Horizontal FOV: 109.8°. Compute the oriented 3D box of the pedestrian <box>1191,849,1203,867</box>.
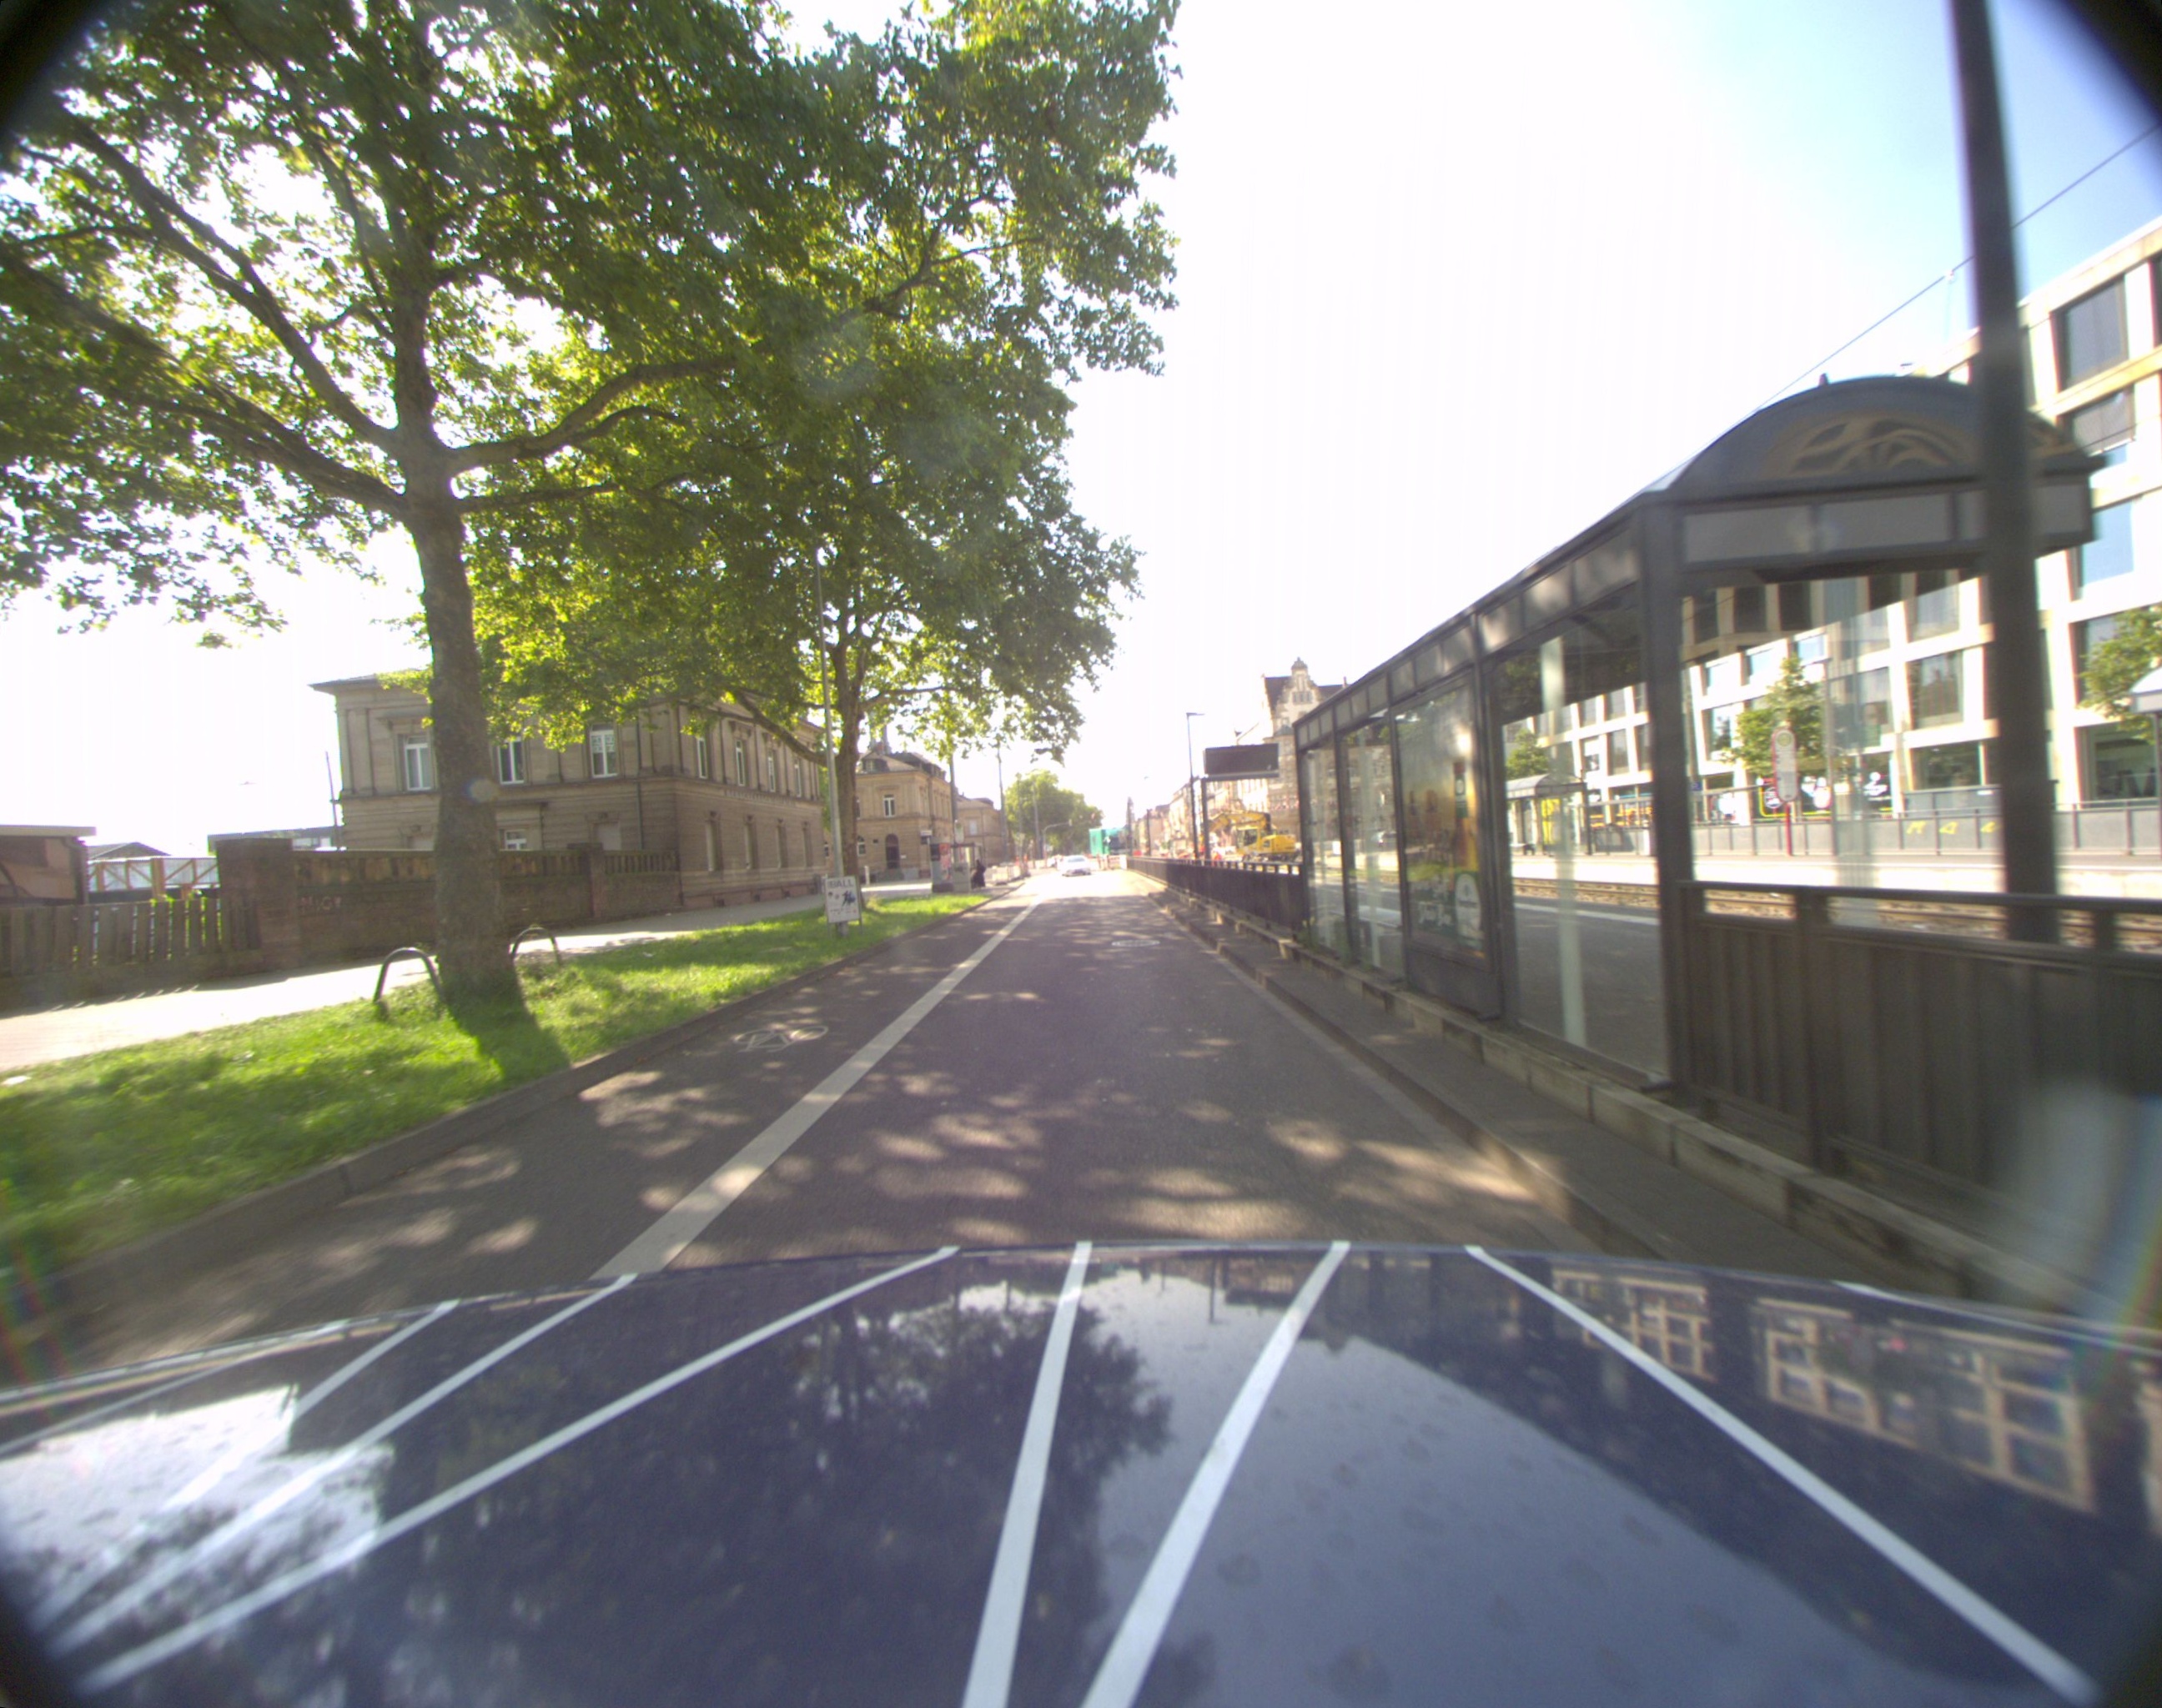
[{"bbox_3d":[9.103,0.318,59.765,0.701,1.327,0.838,-4,0,22],"label":"pedestrian"}]

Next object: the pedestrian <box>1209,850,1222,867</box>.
[{"bbox_3d":[9.722,0.348,54.875,0.701,1.148,0.589,-3,0,40],"label":"pedestrian"}]

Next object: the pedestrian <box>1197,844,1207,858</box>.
[{"bbox_3d":[13.735,-0.325,86.007,0.754,1.547,0.735,-4,1,-42],"label":"pedestrian"}]

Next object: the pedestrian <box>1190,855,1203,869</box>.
[{"bbox_3d":[8.210,0.562,53.990,0.702,0.949,0.882,-4,0,1],"label":"pedestrian"}]

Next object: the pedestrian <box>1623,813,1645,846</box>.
[{"bbox_3d":[34.649,-1.523,47.615,0.854,2.002,0.690,-1,2,0],"label":"pedestrian"}]

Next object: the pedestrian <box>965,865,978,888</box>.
[{"bbox_3d":[-5.943,1.222,41.267,0.610,1.211,0.574,-2,1,-2],"label":"pedestrian"}]

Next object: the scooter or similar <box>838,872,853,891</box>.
[{"bbox_3d":[-15.585,1.801,50.285,0.409,1.159,1.226,-3,0,6],"label":"scooter or similar"}]

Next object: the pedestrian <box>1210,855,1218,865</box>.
[{"bbox_3d":[15.163,0.690,86.483,0.732,1.177,0.866,-1,2,-7],"label":"pedestrian"}]

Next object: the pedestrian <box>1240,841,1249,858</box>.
[{"bbox_3d":[17.214,-0.470,79.828,0.740,1.692,0.759,-3,0,20],"label":"pedestrian"}]

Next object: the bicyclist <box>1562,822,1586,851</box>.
[{"bbox_3d":[23.826,-0.859,36.750,0.630,1.394,0.784,-1,2,0],"label":"bicyclist"}]

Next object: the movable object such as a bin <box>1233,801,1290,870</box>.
[{"bbox_3d":[12.739,-1.234,54.085,2.994,4.527,4.213,-4,0,3],"label":"movable object such as a bin"}]

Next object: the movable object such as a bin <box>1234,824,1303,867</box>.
[{"bbox_3d":[15.333,-0.642,62.420,4.127,3.204,3.564,-4,0,-14],"label":"movable object such as a bin"}]

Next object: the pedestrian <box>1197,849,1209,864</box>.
[{"bbox_3d":[9.771,0.219,60.786,0.701,1.171,0.703,-4,0,22],"label":"pedestrian"}]

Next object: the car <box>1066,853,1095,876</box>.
[{"bbox_3d":[0.005,0.732,55.115,1.844,1.451,4.000,-3,0,2],"label":"car"}]

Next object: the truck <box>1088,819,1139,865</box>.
[{"bbox_3d":[2.863,-0.963,69.611,2.817,3.766,9.009,-3,0,-9],"label":"truck"}]

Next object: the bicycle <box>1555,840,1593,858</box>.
[{"bbox_3d":[23.834,-0.241,36.749,0.630,0.817,1.897,-1,1,0],"label":"bicycle"}]

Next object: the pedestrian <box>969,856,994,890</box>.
[{"bbox_3d":[-4.983,0.947,38.099,0.885,1.616,0.821,-4,0,-34],"label":"pedestrian"}]

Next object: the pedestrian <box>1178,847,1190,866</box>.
[{"bbox_3d":[8.328,0.169,61.372,0.741,1.470,0.704,-3,0,23],"label":"pedestrian"}]
